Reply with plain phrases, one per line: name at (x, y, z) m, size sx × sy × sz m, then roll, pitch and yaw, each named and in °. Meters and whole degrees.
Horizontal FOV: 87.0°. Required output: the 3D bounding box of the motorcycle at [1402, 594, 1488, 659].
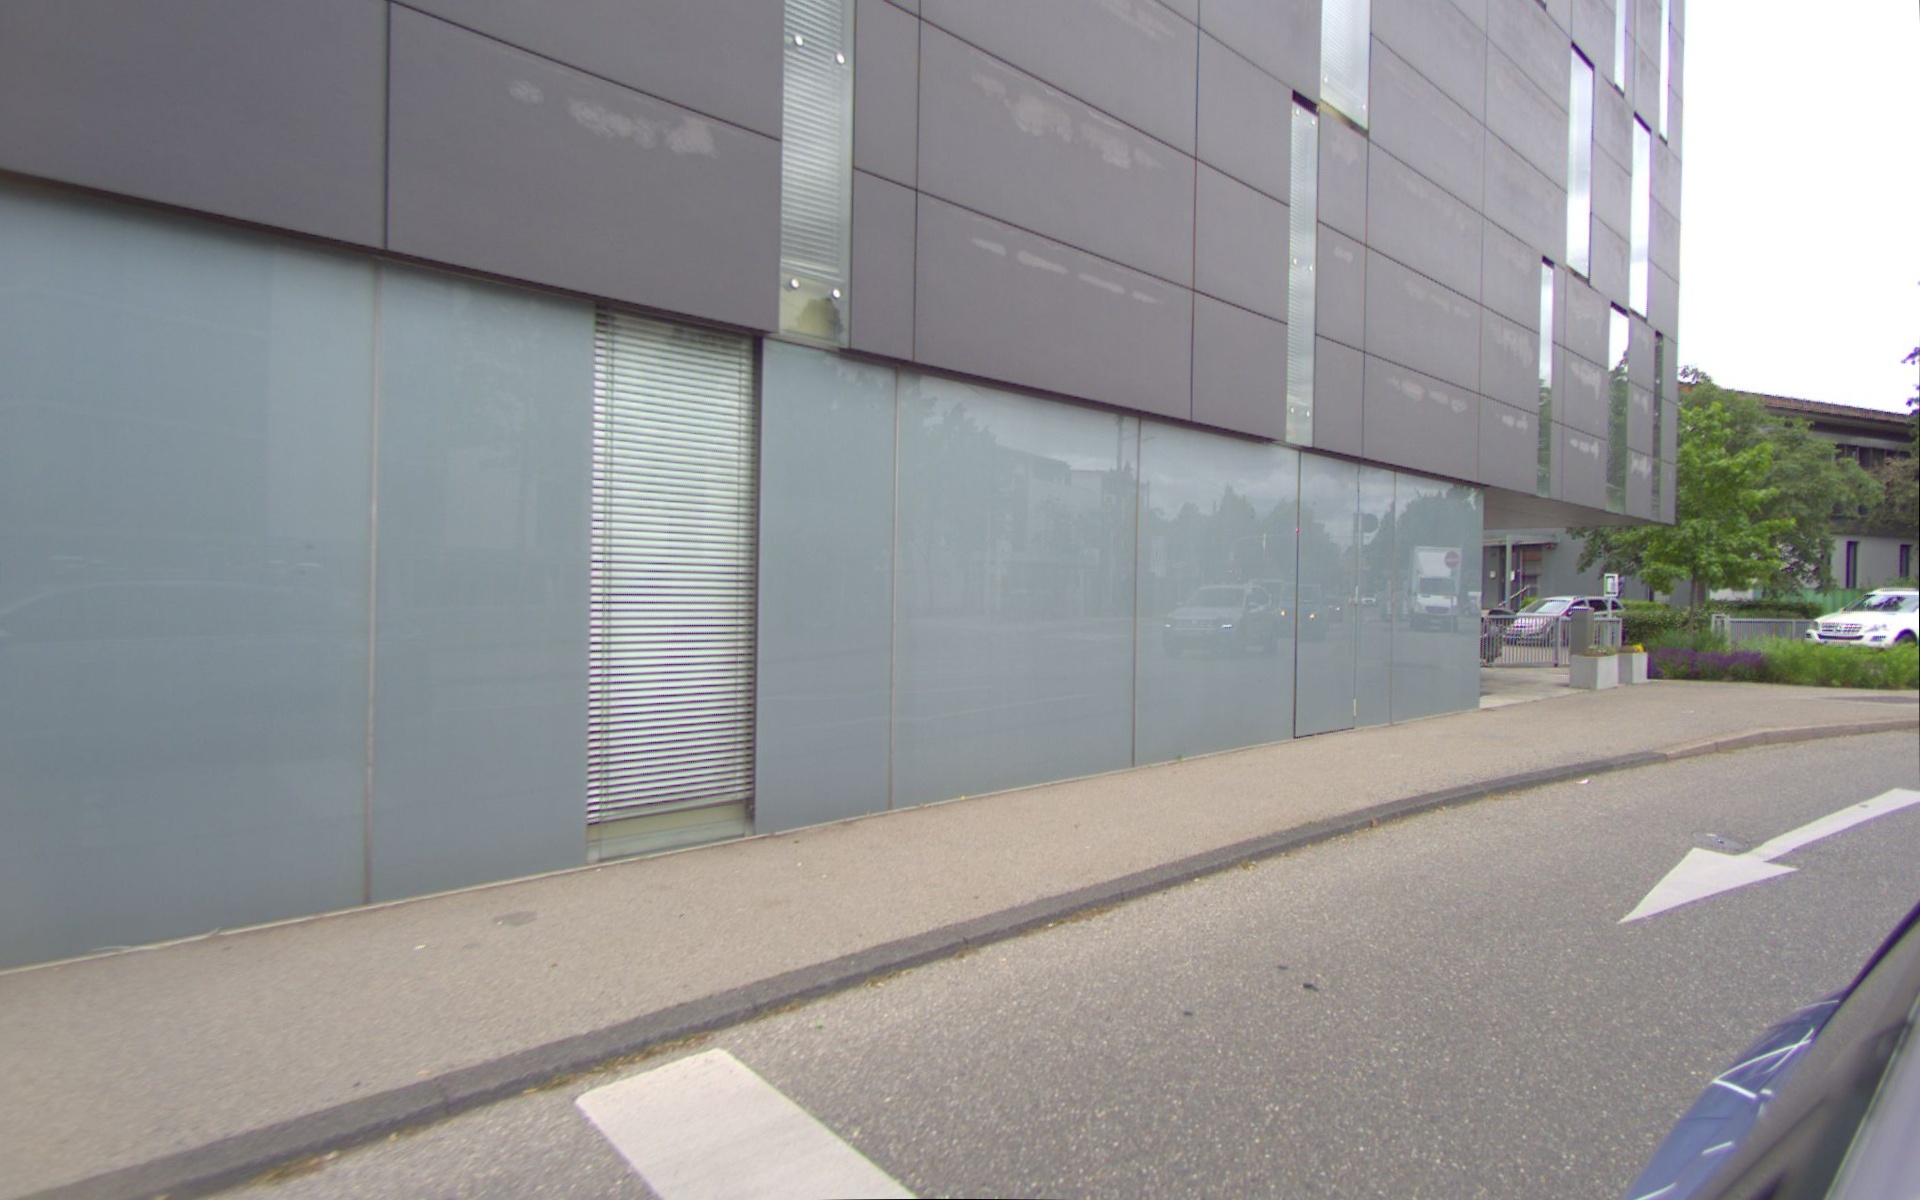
motorcycle at (11.088, 0.578, 23.105) m, size 2.416 × 1.410 × 0.670 m, roll 0°, pitch 0°, yaw -35°

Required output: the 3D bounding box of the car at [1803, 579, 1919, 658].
car at (22.945, 0.415, 24.329) m, size 4.622 × 1.780 × 1.862 m, roll 0°, pitch 0°, yaw -16°

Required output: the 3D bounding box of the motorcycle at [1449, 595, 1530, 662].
motorcycle at (11.645, 0.609, 22.238) m, size 2.084 × 1.411 × 0.670 m, roll 1°, pitch 0°, yaw -35°

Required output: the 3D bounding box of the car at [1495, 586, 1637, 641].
car at (18.638, 0.373, 31.125) m, size 4.130 × 1.502 × 1.624 m, roll -1°, pitch 1°, yaw -23°
